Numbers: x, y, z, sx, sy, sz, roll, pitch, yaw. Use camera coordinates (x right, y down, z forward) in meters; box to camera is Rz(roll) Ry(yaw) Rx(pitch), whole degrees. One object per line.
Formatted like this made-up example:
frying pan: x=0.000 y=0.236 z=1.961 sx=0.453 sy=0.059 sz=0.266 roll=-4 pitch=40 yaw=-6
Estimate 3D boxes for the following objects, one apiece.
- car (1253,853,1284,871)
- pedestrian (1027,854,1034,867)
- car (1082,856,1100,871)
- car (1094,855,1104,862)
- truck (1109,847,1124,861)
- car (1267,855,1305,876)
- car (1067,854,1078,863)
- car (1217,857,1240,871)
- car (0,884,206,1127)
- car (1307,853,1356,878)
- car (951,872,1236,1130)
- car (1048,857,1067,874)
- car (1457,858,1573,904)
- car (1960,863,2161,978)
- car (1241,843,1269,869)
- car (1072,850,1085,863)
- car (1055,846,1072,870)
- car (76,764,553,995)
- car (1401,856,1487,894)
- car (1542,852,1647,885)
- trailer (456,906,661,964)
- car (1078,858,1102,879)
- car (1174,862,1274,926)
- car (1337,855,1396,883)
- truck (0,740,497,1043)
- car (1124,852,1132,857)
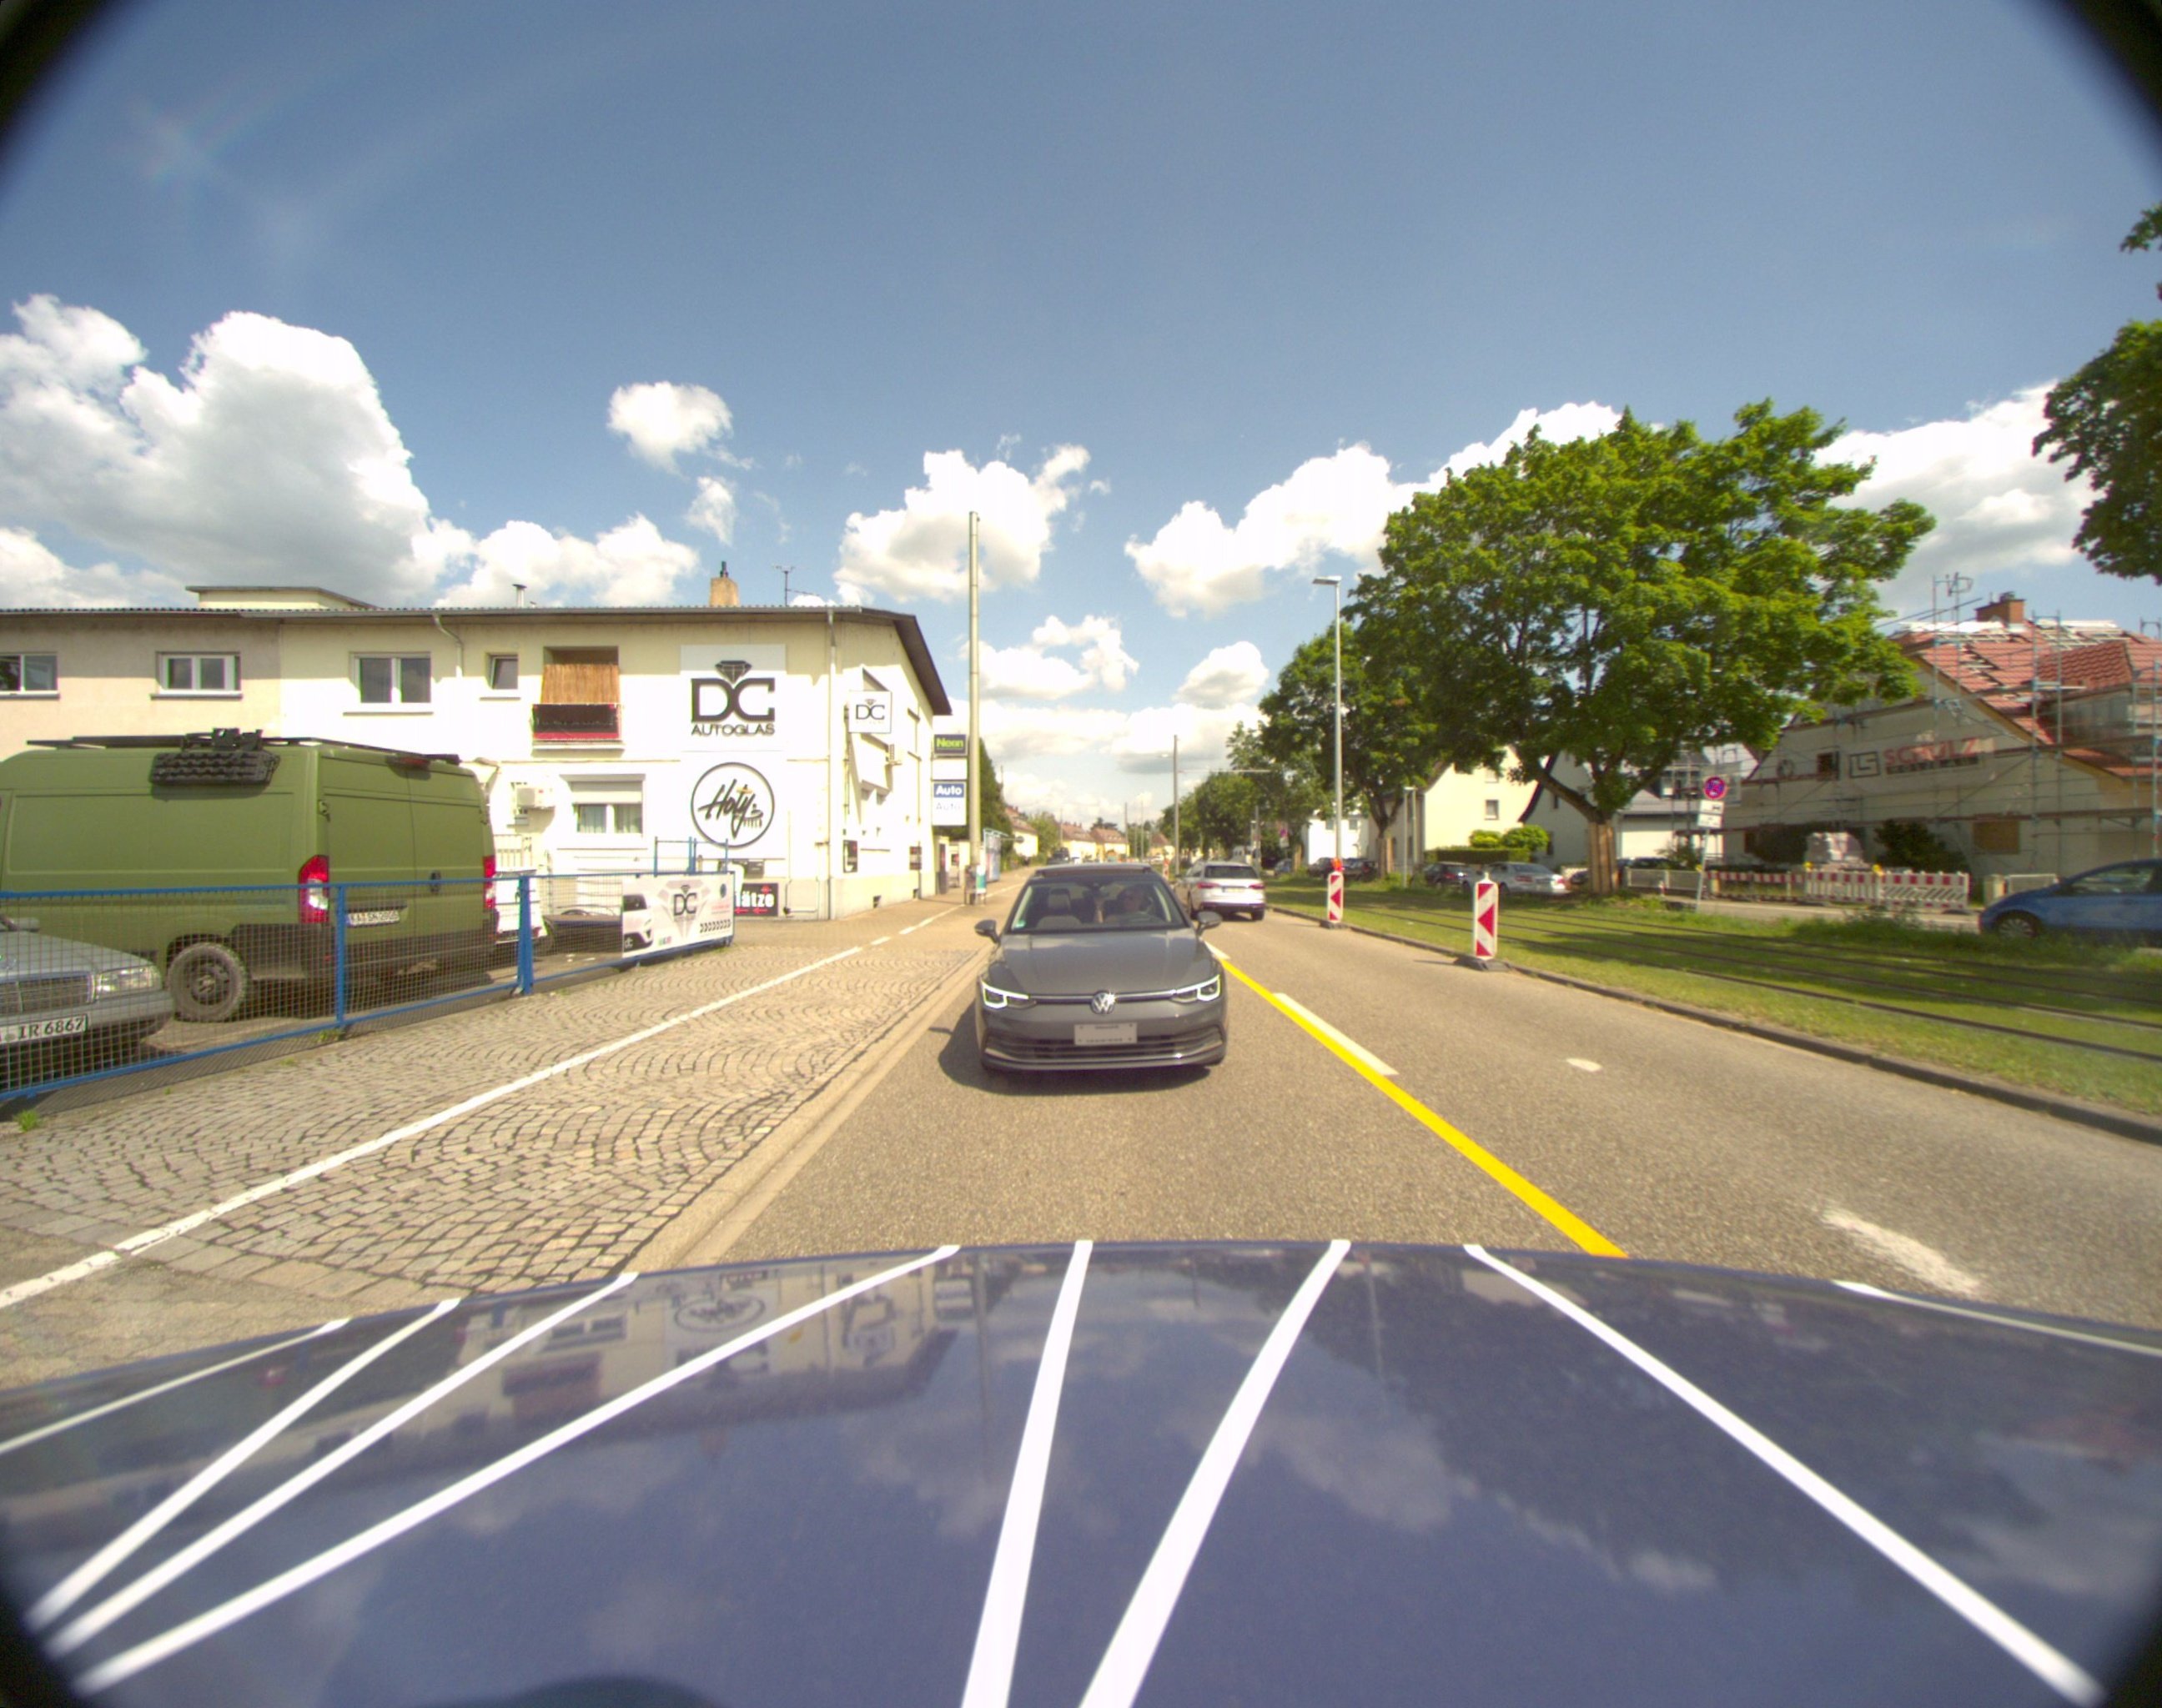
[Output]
car: x=17.590 y=0.759 z=71.489 sx=1.755 sy=1.602 sz=4.606 roll=0 pitch=0 yaw=0
pedestrian: x=-6.303 y=0.782 z=94.343 sx=0.816 sy=1.577 sz=0.918 roll=0 pitch=0 yaw=1
car: x=1.044 y=0.965 z=77.206 sx=1.787 sy=1.470 sz=4.009 roll=0 pitch=0 yaw=1
car: x=4.113 y=1.000 z=172.730 sx=1.718 sy=1.470 sz=4.011 roll=0 pitch=0 yaw=8
truck: x=9.414 y=0.027 z=201.129 sx=2.590 sy=3.431 sz=8.585 roll=0 pitch=0 yaw=11
car: x=16.500 y=0.919 z=61.350 sx=1.755 sy=1.602 sz=4.606 roll=0 pitch=0 yaw=0
car: x=-1.359 y=0.742 z=122.996 sx=1.720 sy=1.470 sz=4.009 roll=0 pitch=0 yaw=0
car: x=16.938 y=1.155 z=87.263 sx=1.755 sy=1.602 sz=4.606 roll=0 pitch=0 yaw=0
car: x=-8.433 y=0.918 z=4.804 sx=4.206 sy=1.388 sz=1.804 roll=0 pitch=0 yaw=8
car: x=16.683 y=0.766 z=50.901 sx=1.755 sy=1.602 sz=4.606 roll=0 pitch=0 yaw=0
car: x=0.104 y=0.938 z=6.595 sx=1.719 sy=1.470 sz=4.009 roll=0 pitch=0 yaw=1
car: x=-2.155 y=1.068 z=70.981 sx=1.720 sy=1.470 sz=4.009 roll=0 pitch=0 yaw=0
car: x=16.393 y=0.967 z=29.000 sx=1.755 sy=1.602 sz=4.606 roll=0 pitch=0 yaw=0
car: x=16.219 y=0.960 z=11.225 sx=1.755 sy=1.602 sz=4.050 roll=0 pitch=0 yaw=0
car: x=17.651 y=0.200 z=77.120 sx=1.755 sy=2.601 sz=4.606 roll=0 pitch=0 yaw=0
car: x=-0.422 y=0.403 z=136.316 sx=1.719 sy=2.360 sz=5.211 roll=0 pitch=0 yaw=5
car: x=-1.913 y=0.413 z=82.843 sx=1.720 sy=2.526 sz=5.794 roll=0 pitch=0 yaw=0
car: x=-9.451 y=0.302 z=9.646 sx=4.209 sy=2.653 sz=1.803 roll=0 pitch=0 yaw=0
car: x=16.594 y=0.919 z=35.023 sx=1.755 sy=1.602 sz=4.606 roll=0 pitch=0 yaw=0
car: x=25.516 y=0.723 z=37.826 sx=4.047 sy=1.602 sz=1.757 roll=0 pitch=0 yaw=1
trailer: x=-8.058 y=1.238 z=11.830 sx=2.329 sy=0.762 sz=1.269 roll=0 pitch=0 yaw=2
car: x=0.660 y=1.038 z=55.088 sx=1.719 sy=1.470 sz=4.009 roll=0 pitch=0 yaw=1
car: x=3.525 y=0.943 z=19.517 sx=1.755 sy=1.405 sz=4.261 roll=0 pitch=0 yaw=0
car: x=16.905 y=0.853 z=45.261 sx=1.755 sy=1.602 sz=4.606 roll=0 pitch=0 yaw=0
truck: x=-8.619 y=0.329 z=7.569 sx=3.997 sy=2.592 sz=2.069 roll=0 pitch=0 yaw=1
car: x=13.541 y=0.241 z=218.471 sx=1.718 sy=1.470 sz=4.013 roll=0 pitch=0 yaw=13
